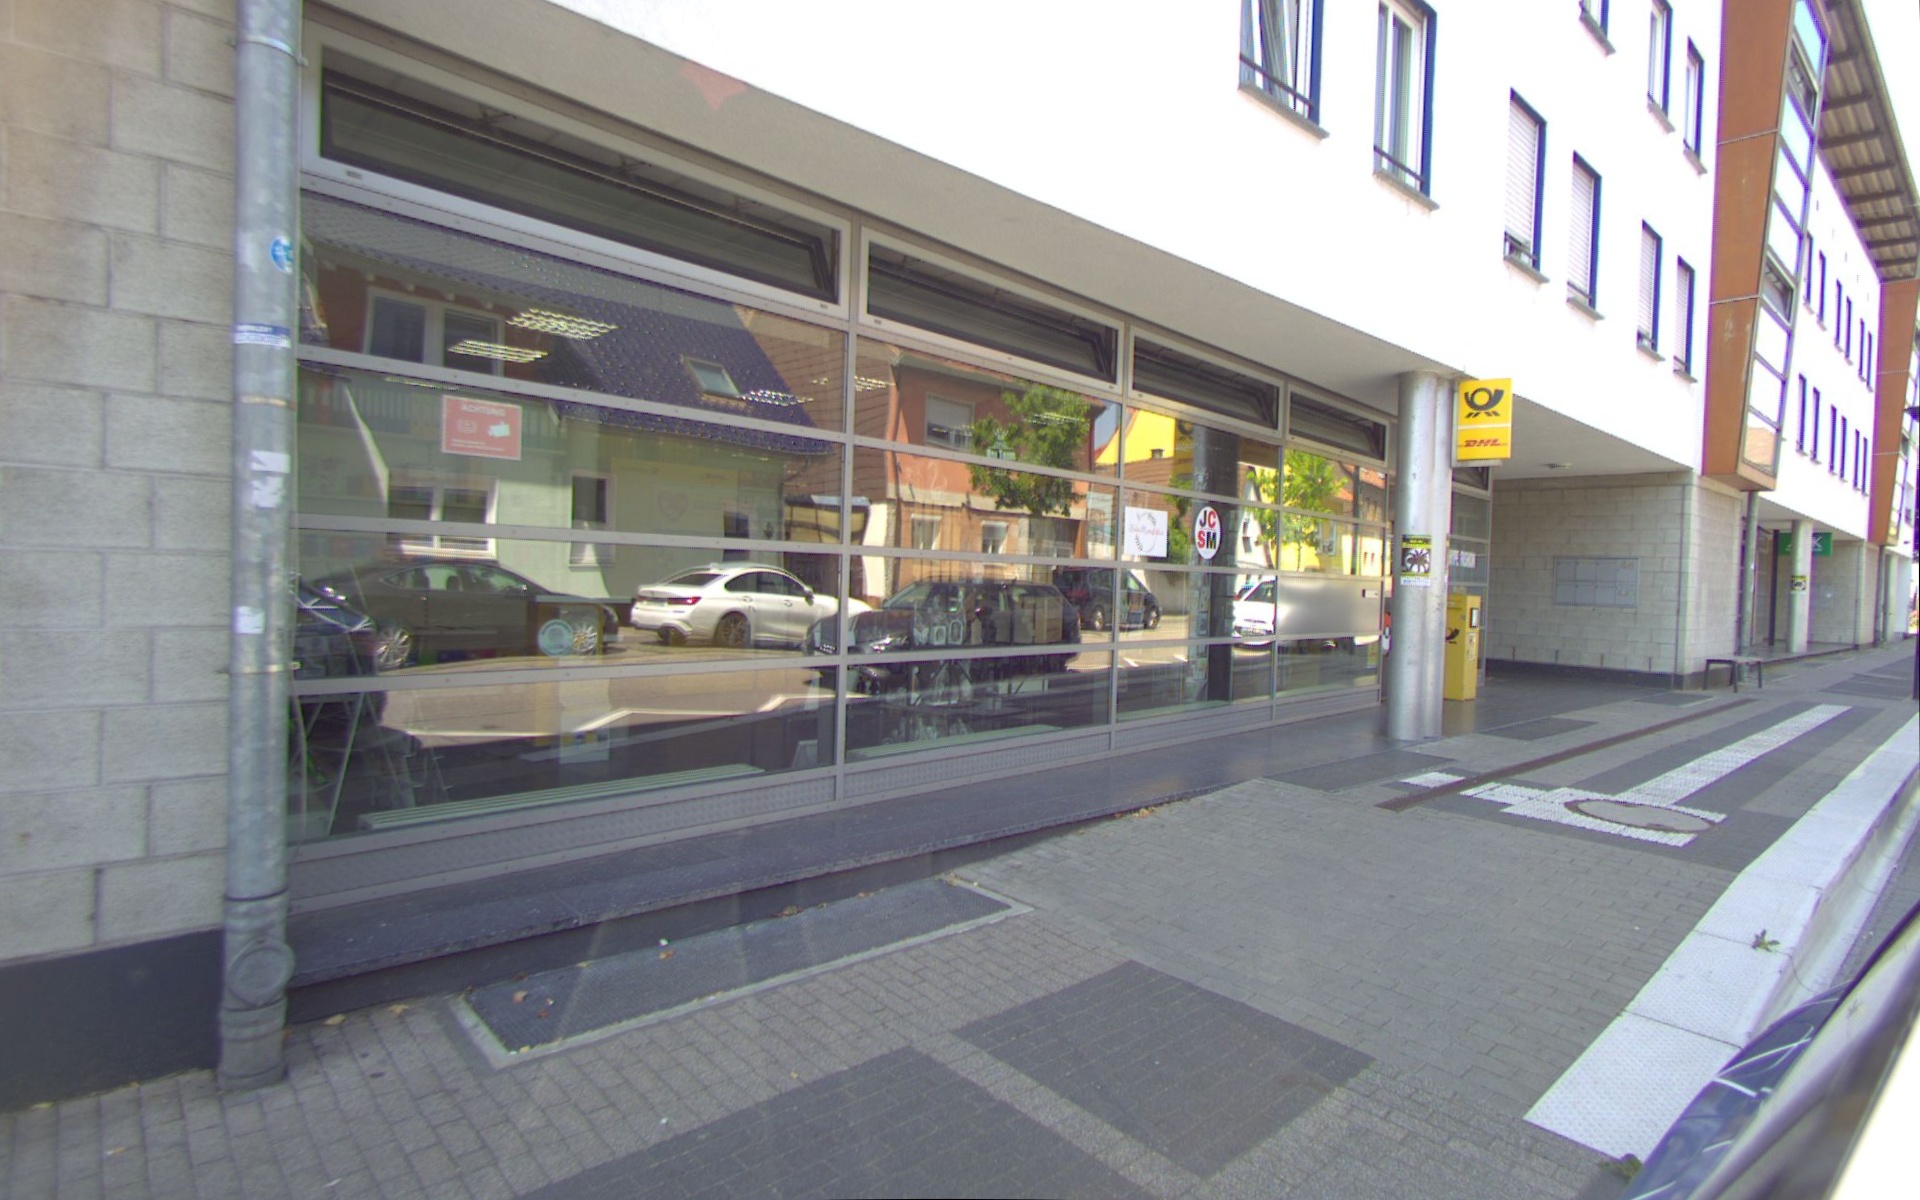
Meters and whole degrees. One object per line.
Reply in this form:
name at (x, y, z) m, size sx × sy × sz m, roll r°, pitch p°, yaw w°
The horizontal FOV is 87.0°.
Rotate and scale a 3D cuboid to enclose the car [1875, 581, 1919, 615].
car at (56.413, -0.058, 59.088) m, size 1.966 × 1.882 × 4.200 m, roll 0°, pitch 3°, yaw -42°
